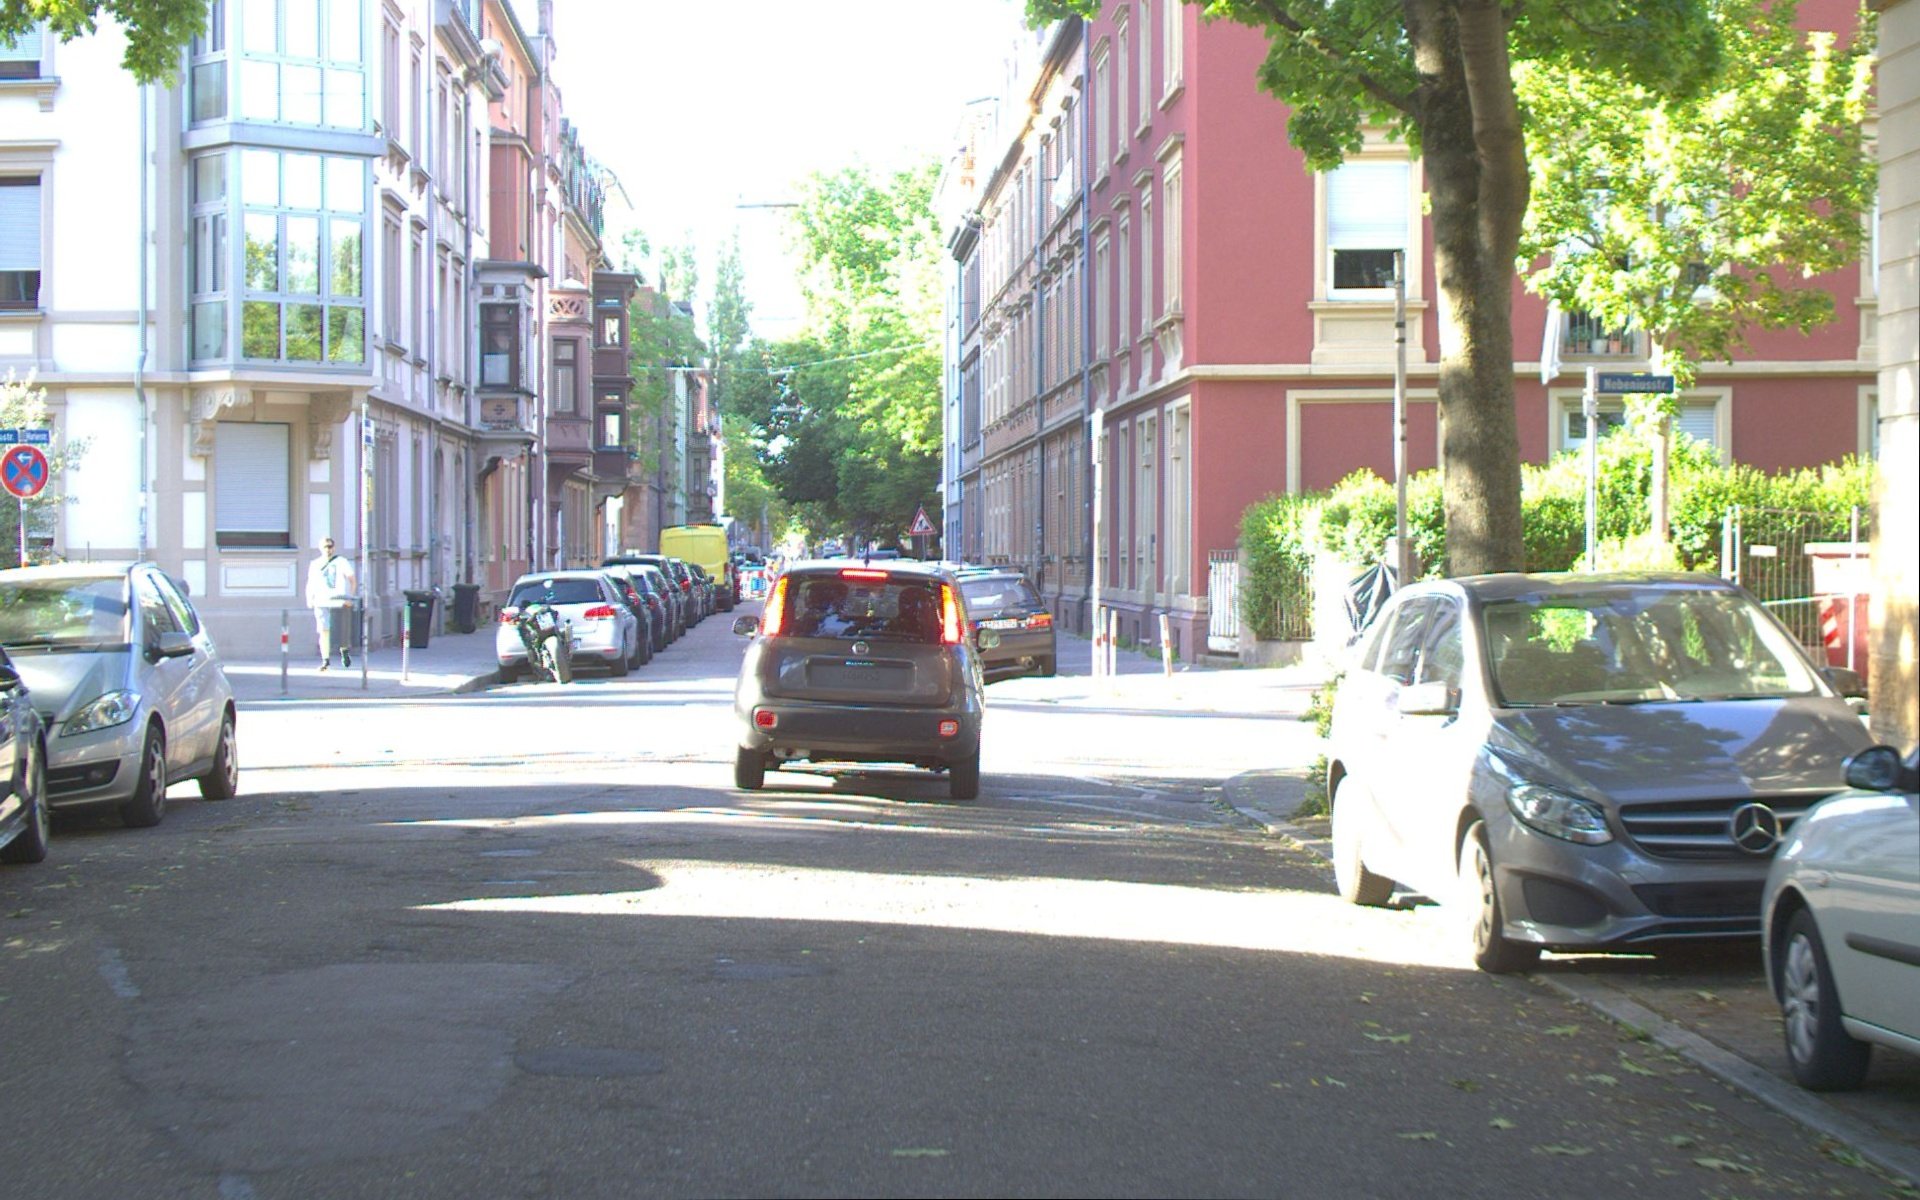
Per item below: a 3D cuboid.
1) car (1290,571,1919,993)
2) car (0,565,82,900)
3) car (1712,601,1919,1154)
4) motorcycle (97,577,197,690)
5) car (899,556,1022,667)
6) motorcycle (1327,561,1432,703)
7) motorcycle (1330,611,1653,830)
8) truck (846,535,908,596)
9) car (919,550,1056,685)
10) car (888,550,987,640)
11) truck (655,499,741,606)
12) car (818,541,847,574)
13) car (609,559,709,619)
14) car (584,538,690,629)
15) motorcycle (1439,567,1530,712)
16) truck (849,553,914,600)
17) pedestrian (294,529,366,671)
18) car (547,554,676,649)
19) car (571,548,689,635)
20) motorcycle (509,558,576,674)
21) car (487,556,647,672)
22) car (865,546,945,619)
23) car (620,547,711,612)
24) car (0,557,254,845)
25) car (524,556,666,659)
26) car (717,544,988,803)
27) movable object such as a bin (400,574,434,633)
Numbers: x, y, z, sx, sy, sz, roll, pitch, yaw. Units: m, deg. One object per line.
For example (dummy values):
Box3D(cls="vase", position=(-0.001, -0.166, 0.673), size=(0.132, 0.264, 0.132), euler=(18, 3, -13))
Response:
Box3D(cls="car", position=(2.732, 0.658, 14.969), size=(1.788, 1.545, 4.410), euler=(0, 1, -5))
Box3D(cls="car", position=(-5.298, 0.642, 16.050), size=(1.746, 1.469, 4.465), euler=(-4, 1, -8))
Box3D(cls="car", position=(3.440, 0.775, 9.205), size=(1.610, 1.473, 3.871), euler=(0, 1, -7))
Box3D(cls="motorcycle", position=(-9.751, 0.387, 41.262), size=(0.518, 1.289, 1.611), euler=(2, 1, 11))
Box3D(cls="car", position=(-0.030, 0.138, 50.090), size=(1.663, 1.500, 3.757), euler=(1, 1, -1))
Box3D(cls="motorcycle", position=(4.553, 0.327, 37.217), size=(1.020, 1.399, 2.191), euler=(0, 3, 10))
Box3D(cls="motorcycle", position=(3.154, 0.710, 20.386), size=(1.851, 1.262, 0.504), euler=(-1, 1, 12))
Box3D(cls="truck", position=(-2.777, -1.175, 114.315), size=(1.993, 1.985, 4.001), euler=(0, 1, -2))
Box3D(cls="car", position=(0.327, 0.196, 45.605), size=(1.663, 1.663, 3.757), euler=(1, 1, -1))
Box3D(cls="car", position=(-0.434, -0.110, 61.083), size=(1.663, 1.500, 3.757), euler=(1, 1, -1))
Box3D(cls="truck", position=(-7.623, -1.402, 100.432), size=(2.070, 2.916, 5.068), euler=(-4, 1, -2))
Box3D(cls="car", position=(-6.229, -2.081, 168.033), size=(1.367, 1.612, 3.414), euler=(0, 1, -2))
Box3D(cls="car", position=(-6.864, -0.268, 78.692), size=(1.961, 1.220, 3.925), euler=(-3, 1, -1))
Box3D(cls="car", position=(-6.496, -0.354, 69.406), size=(1.775, 1.693, 3.925), euler=(-3, 1, -1))
Box3D(cls="motorcycle", position=(5.564, 0.393, 36.603), size=(0.826, 1.399, 2.556), euler=(0, 3, 6))
Box3D(cls="truck", position=(-2.504, -0.766, 108.945), size=(1.993, 1.451, 4.001), euler=(0, 1, -2))
Box3D(cls="pedestrian", position=(-8.210, -0.007, 44.823), size=(0.723, 1.833, 0.626), euler=(1, 1, 9))
Box3D(cls="car", position=(-5.958, 0.001, 59.161), size=(1.825, 1.462, 3.925), euler=(-3, 1, -1))
Box3D(cls="car", position=(-6.136, -0.184, 64.259), size=(1.828, 1.474, 3.925), euler=(-3, 1, -1))
Box3D(cls="motorcycle", position=(-5.419, 0.188, 44.569), size=(0.696, 1.455, 1.751), euler=(-1, 1, -12))
Box3D(cls="car", position=(-5.420, 0.159, 47.869), size=(1.797, 1.427, 3.925), euler=(-3, 1, -1))
Box3D(cls="car", position=(-1.220, -0.400, 74.740), size=(1.663, 1.500, 3.757), euler=(1, 1, -1))
Box3D(cls="car", position=(-7.371, -0.524, 86.331), size=(1.961, 1.474, 3.925), euler=(-3, 1, -1))
Box3D(cls="car", position=(-5.537, 0.565, 21.146), size=(1.696, 1.545, 3.920), euler=(-3, 1, -3))
Box3D(cls="car", position=(-5.579, 0.086, 52.953), size=(1.777, 1.408, 3.925), euler=(-3, 1, -1))
Box3D(cls="car", position=(-0.701, 0.440, 23.319), size=(1.633, 1.545, 3.264), euler=(3, 1, -1))
Box3D(cls="movable object such as a bin", position=(-8.784, 0.052, 55.648), size=(0.511, 0.949, 0.501), euler=(0, 1, -5))
